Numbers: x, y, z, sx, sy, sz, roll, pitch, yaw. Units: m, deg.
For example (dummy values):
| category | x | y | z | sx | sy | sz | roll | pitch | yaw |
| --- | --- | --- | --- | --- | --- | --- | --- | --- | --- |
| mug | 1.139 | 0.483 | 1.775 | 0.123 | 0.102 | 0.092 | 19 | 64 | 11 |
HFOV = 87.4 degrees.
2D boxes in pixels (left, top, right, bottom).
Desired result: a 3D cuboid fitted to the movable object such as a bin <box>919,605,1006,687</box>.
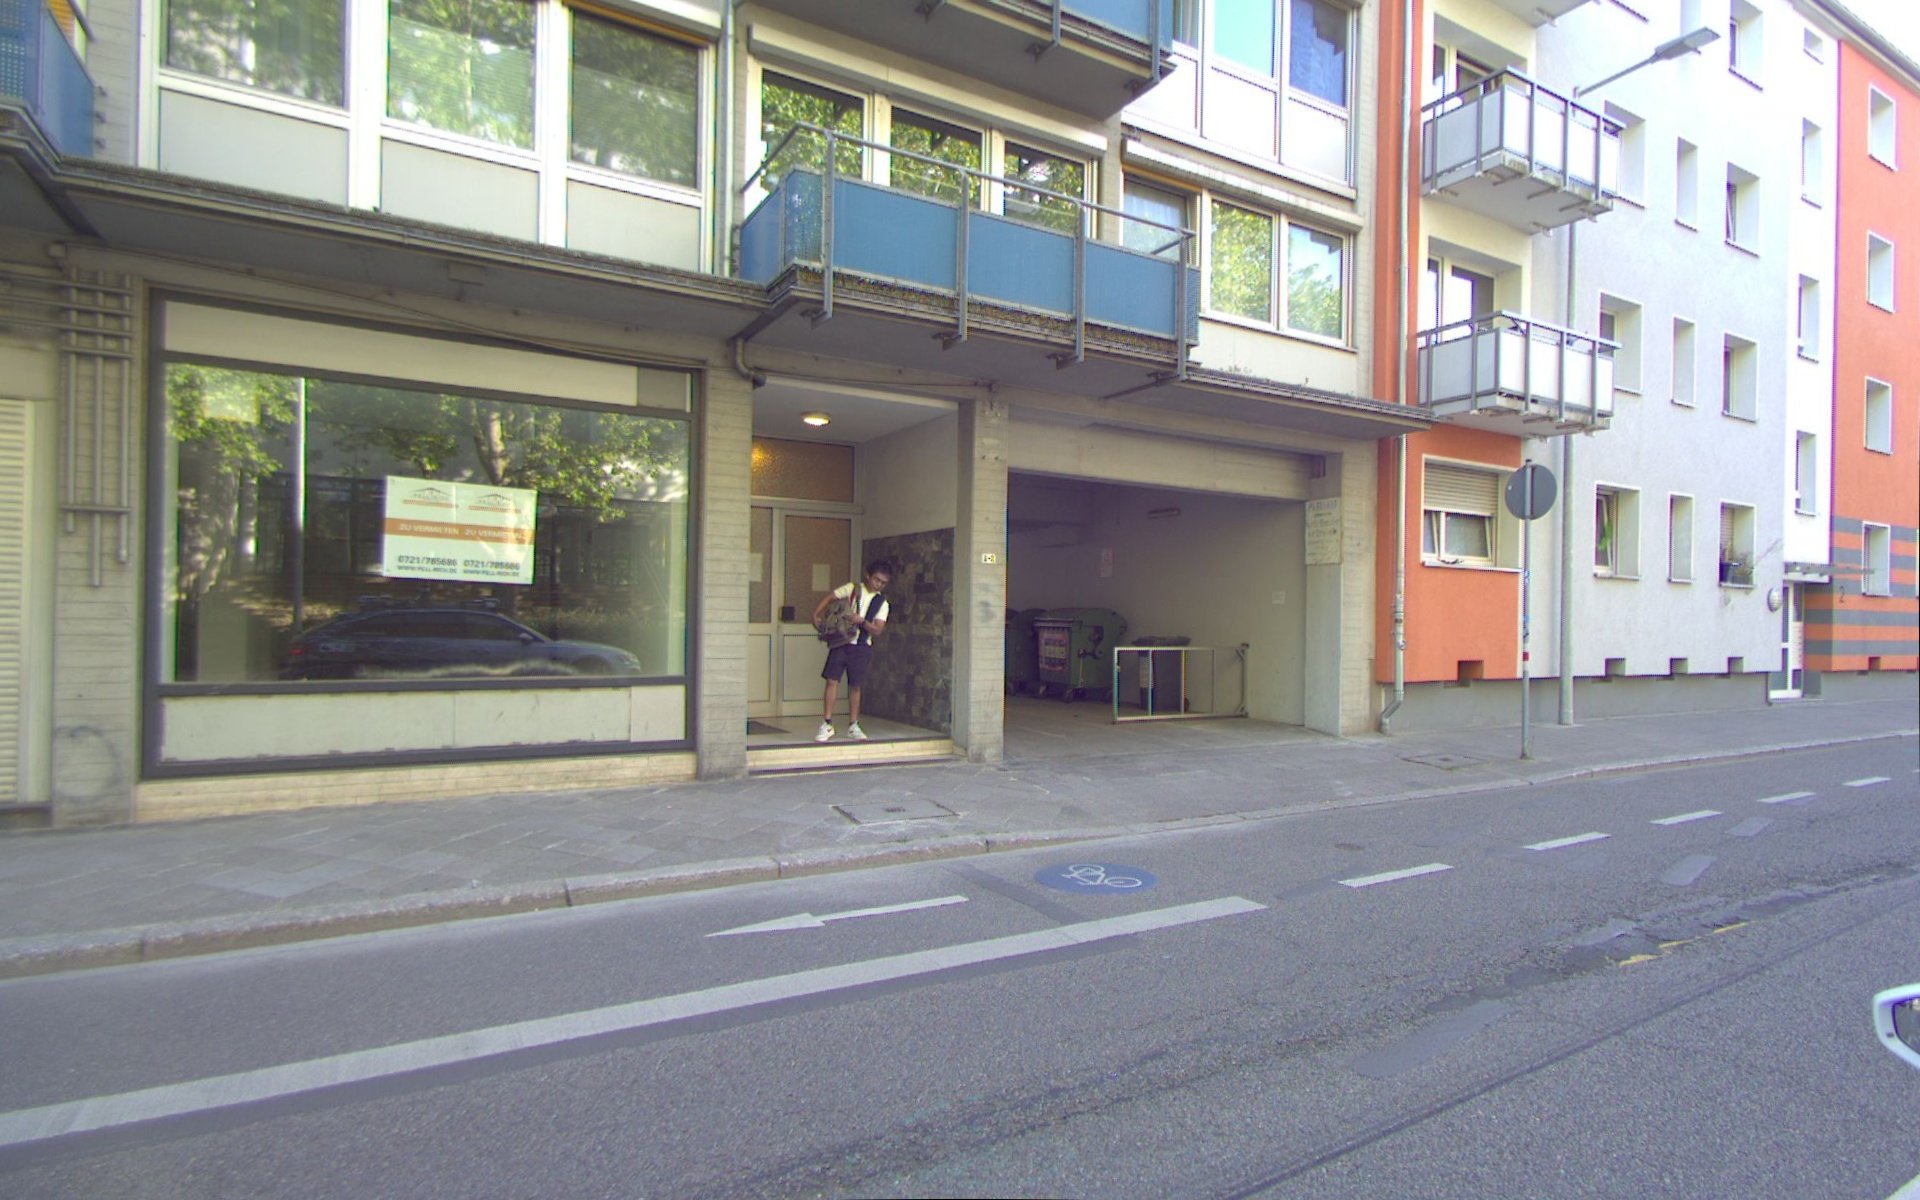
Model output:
| category | x | y | z | sx | sy | sz | roll | pitch | yaw |
| --- | --- | --- | --- | --- | --- | --- | --- | --- | --- |
| movable object such as a bin | 0.030 | 0.843 | 18.704 | 1.120 | 1.444 | 1.268 | 2 | 0 | -28 |

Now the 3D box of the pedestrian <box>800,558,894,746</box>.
| category | x | y | z | sx | sy | sz | roll | pitch | yaw |
| --- | --- | --- | --- | --- | --- | --- | --- | --- | --- |
| pedestrian | -1.030 | 0.466 | 9.274 | 0.778 | 1.639 | 0.836 | 2 | 0 | -5 |

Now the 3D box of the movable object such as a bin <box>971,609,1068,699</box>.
| category | x | y | z | sx | sy | sz | roll | pitch | yaw |
| --- | --- | --- | --- | --- | --- | --- | --- | --- | --- |
| movable object such as a bin | 1.006 | 0.898 | 17.159 | 1.120 | 1.444 | 1.268 | 2 | 0 | -28 |

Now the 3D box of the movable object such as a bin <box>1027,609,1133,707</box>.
| category | x | y | z | sx | sy | sz | roll | pitch | yaw |
| --- | --- | --- | --- | --- | --- | --- | --- | --- | --- |
| movable object such as a bin | 1.874 | 0.884 | 15.817 | 1.120 | 1.444 | 1.268 | 2 | 0 | -28 |

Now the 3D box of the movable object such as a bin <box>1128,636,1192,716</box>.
| category | x | y | z | sx | sy | sz | roll | pitch | yaw |
| --- | --- | --- | --- | --- | --- | --- | --- | --- | --- |
| movable object such as a bin | 2.886 | 1.083 | 14.493 | 0.713 | 1.094 | 0.533 | 2 | 0 | -29 |

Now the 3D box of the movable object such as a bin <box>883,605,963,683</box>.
| category | x | y | z | sx | sy | sz | roll | pitch | yaw |
| --- | --- | --- | --- | --- | --- | --- | --- | --- | --- |
| movable object such as a bin | -0.743 | 0.847 | 19.794 | 1.120 | 1.444 | 1.268 | 2 | 0 | -28 |
